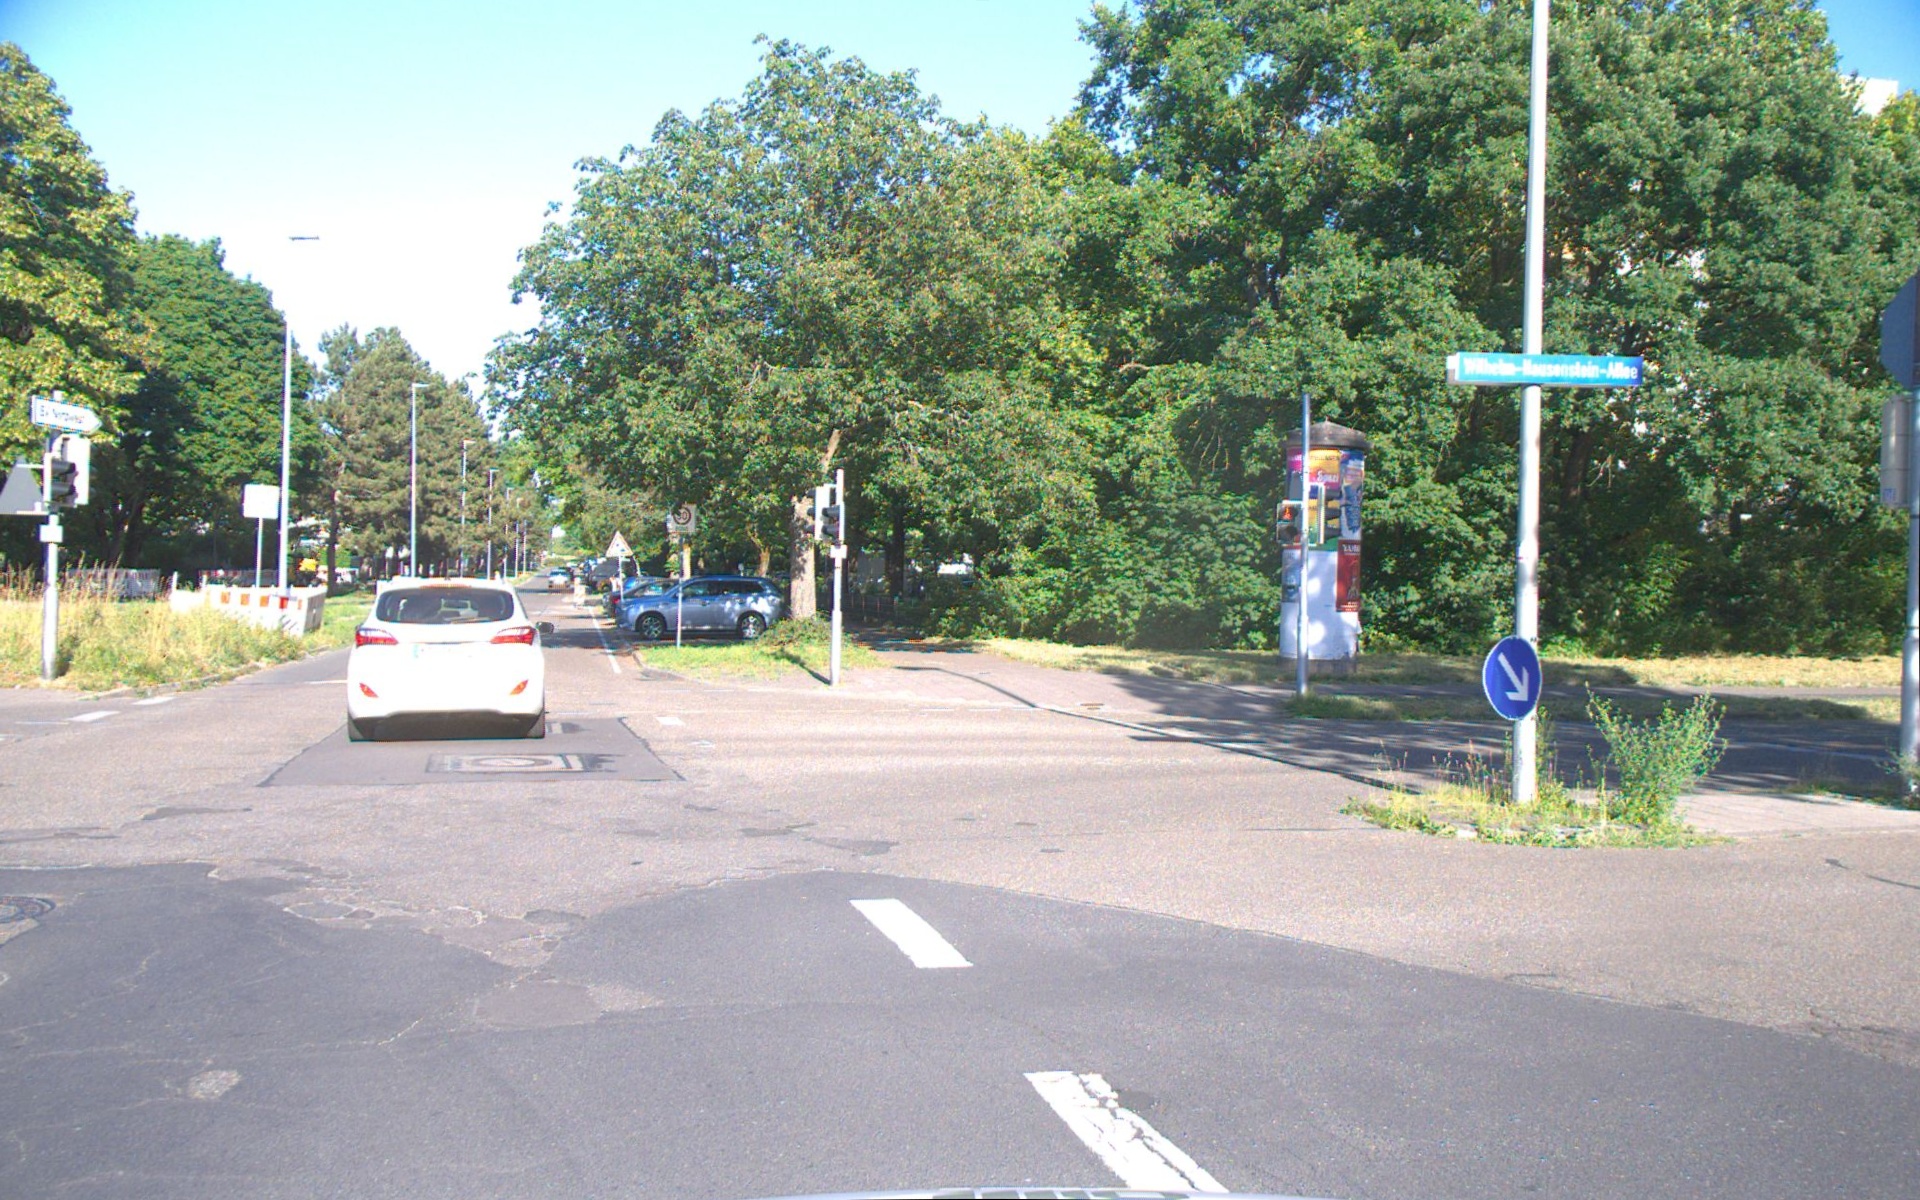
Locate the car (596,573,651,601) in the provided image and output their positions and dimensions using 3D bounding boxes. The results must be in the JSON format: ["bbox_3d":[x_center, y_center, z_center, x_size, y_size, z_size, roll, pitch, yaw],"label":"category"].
[{"bbox_3d":[-24.106,-0.910,118.512,3.754,1.798,1.857,2,-1,-14],"label":"car"}]

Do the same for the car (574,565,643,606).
[{"bbox_3d":[-20.104,-0.807,94.694,3.754,2.135,1.857,2,-1,-14],"label":"car"}]

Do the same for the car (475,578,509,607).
[{"bbox_3d":[-31.829,-0.486,112.590,1.959,1.847,3.987,2,0,-13],"label":"car"}]

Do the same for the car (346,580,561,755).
[{"bbox_3d":[-4.918,0.579,16.442,1.759,1.488,3.948,2,0,-14],"label":"car"}]

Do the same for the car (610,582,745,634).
[{"bbox_3d":[-9.634,0.265,56.433,4.418,1.658,1.850,1,0,-11],"label":"car"}]

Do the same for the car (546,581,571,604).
[{"bbox_3d":[-34.600,-0.644,142.680,1.959,1.847,3.987,3,0,-13],"label":"car"}]

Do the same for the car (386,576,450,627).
[{"bbox_3d":[-21.454,0.012,65.606,1.959,1.847,3.988,-2,2,-13],"label":"car"}]

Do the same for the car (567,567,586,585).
[{"bbox_3d":[-41.739,-2.583,179.947,1.959,1.847,3.987,2,0,-13],"label":"car"}]

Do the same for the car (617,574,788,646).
[{"bbox_3d":[-6.942,0.276,44.528,4.418,1.814,1.850,1,0,-11],"label":"car"}]

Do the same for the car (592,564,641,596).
[{"bbox_3d":[-27.533,-1.603,132.636,3.754,2.339,1.857,2,-1,-14],"label":"car"}]

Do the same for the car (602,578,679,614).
[{"bbox_3d":[-16.481,-0.209,85.281,3.754,1.713,1.857,2,-1,-14],"label":"car"}]

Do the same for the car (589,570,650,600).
[{"bbox_3d":[-25.024,-1.096,121.518,4.228,1.941,1.857,2,-1,-14],"label":"car"}]

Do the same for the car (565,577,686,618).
[{"bbox_3d":[-15.976,-0.117,79.009,5.518,1.713,1.941,2,-1,-14],"label":"car"}]
